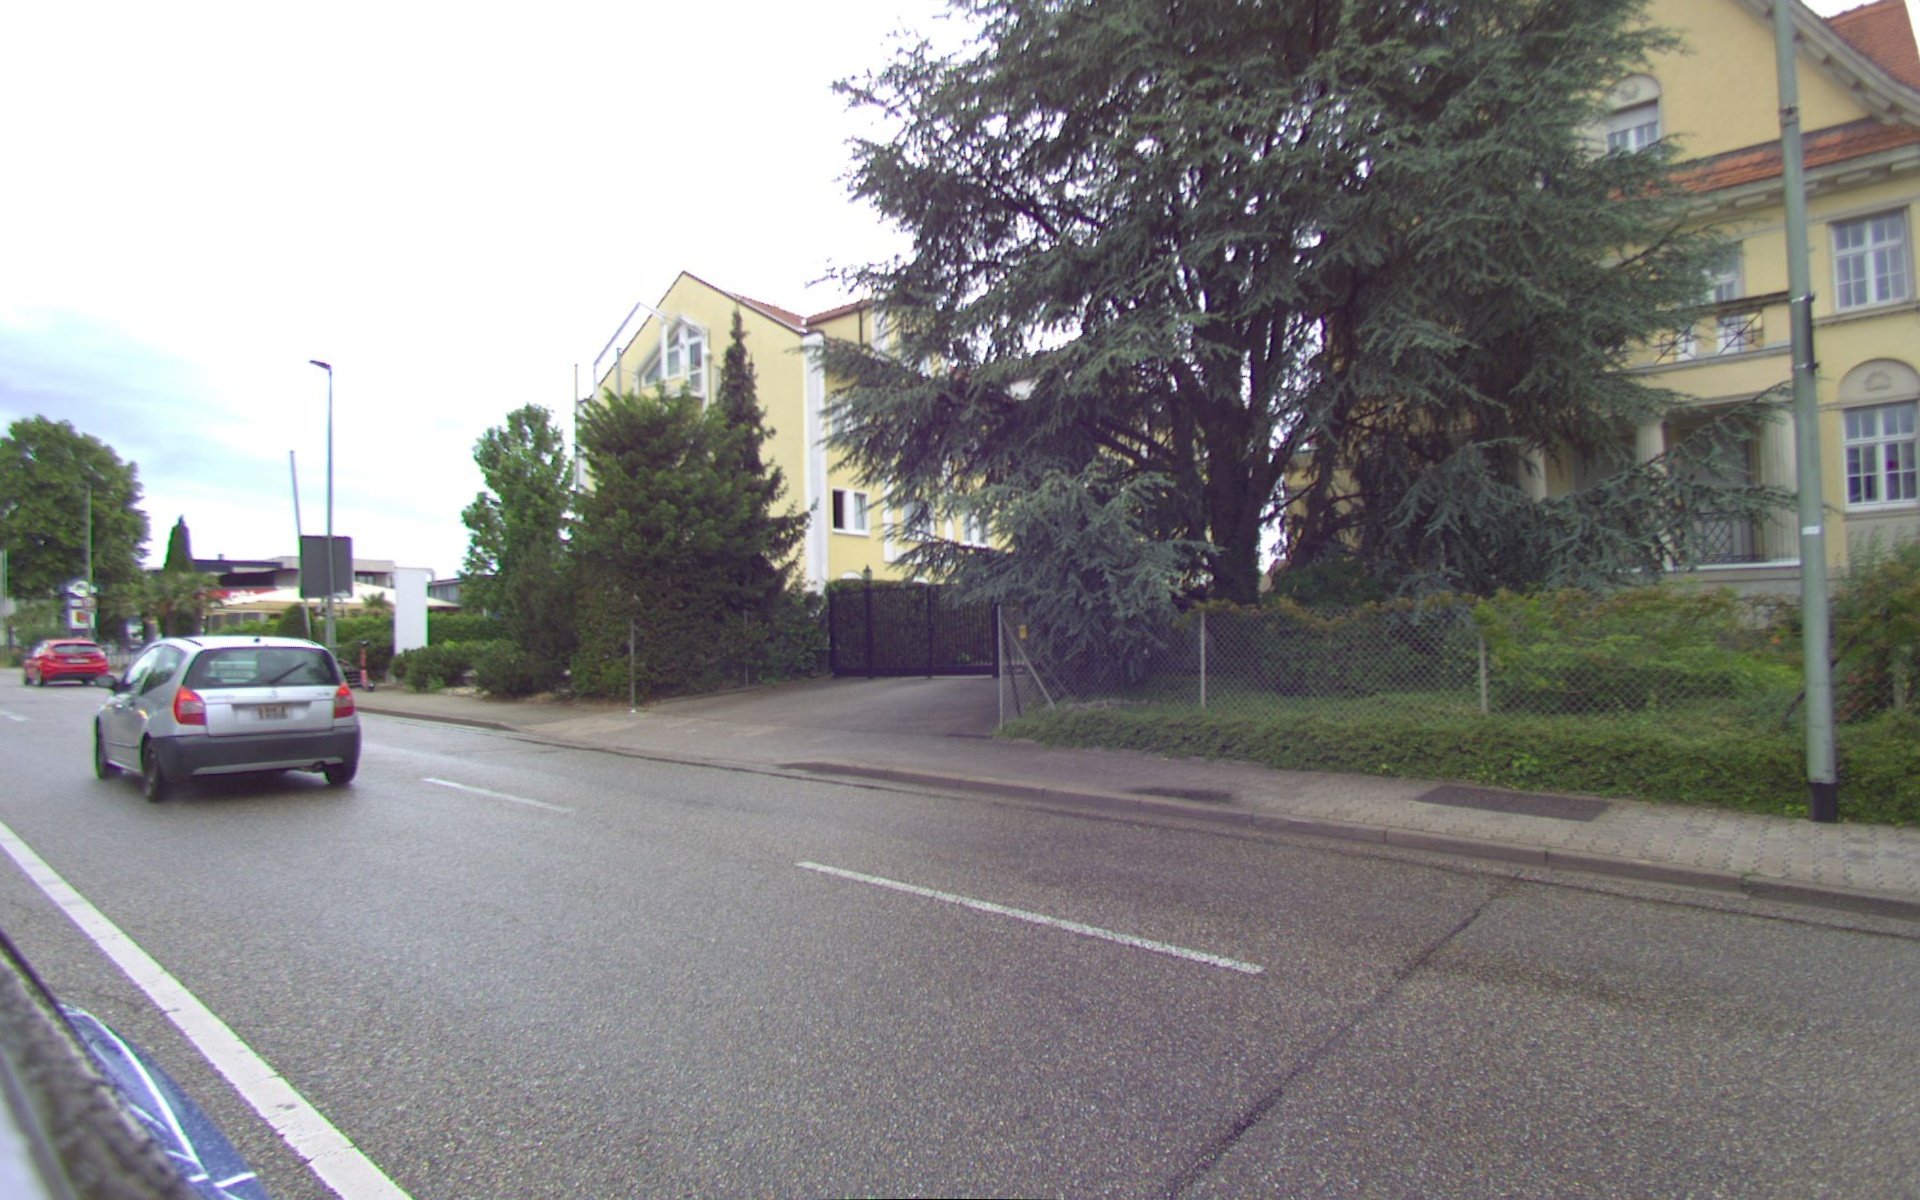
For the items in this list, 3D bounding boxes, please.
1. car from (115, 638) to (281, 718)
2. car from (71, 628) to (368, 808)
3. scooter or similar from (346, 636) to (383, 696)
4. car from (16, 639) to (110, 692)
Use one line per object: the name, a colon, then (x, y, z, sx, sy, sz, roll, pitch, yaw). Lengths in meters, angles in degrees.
car: (-15.919, 1.536, 21.055, 4.428, 1.471, 1.767, -2, -2, 40)
car: (-7.438, 1.023, 10.070, 3.516, 1.471, 1.622, -2, -3, 41)
scooter or similar: (-14.651, 1.588, 24.881, 0.498, 1.416, 1.884, 1, -2, -39)
car: (-28.189, 2.009, 31.767, 3.777, 1.487, 1.678, -1, -1, 40)
